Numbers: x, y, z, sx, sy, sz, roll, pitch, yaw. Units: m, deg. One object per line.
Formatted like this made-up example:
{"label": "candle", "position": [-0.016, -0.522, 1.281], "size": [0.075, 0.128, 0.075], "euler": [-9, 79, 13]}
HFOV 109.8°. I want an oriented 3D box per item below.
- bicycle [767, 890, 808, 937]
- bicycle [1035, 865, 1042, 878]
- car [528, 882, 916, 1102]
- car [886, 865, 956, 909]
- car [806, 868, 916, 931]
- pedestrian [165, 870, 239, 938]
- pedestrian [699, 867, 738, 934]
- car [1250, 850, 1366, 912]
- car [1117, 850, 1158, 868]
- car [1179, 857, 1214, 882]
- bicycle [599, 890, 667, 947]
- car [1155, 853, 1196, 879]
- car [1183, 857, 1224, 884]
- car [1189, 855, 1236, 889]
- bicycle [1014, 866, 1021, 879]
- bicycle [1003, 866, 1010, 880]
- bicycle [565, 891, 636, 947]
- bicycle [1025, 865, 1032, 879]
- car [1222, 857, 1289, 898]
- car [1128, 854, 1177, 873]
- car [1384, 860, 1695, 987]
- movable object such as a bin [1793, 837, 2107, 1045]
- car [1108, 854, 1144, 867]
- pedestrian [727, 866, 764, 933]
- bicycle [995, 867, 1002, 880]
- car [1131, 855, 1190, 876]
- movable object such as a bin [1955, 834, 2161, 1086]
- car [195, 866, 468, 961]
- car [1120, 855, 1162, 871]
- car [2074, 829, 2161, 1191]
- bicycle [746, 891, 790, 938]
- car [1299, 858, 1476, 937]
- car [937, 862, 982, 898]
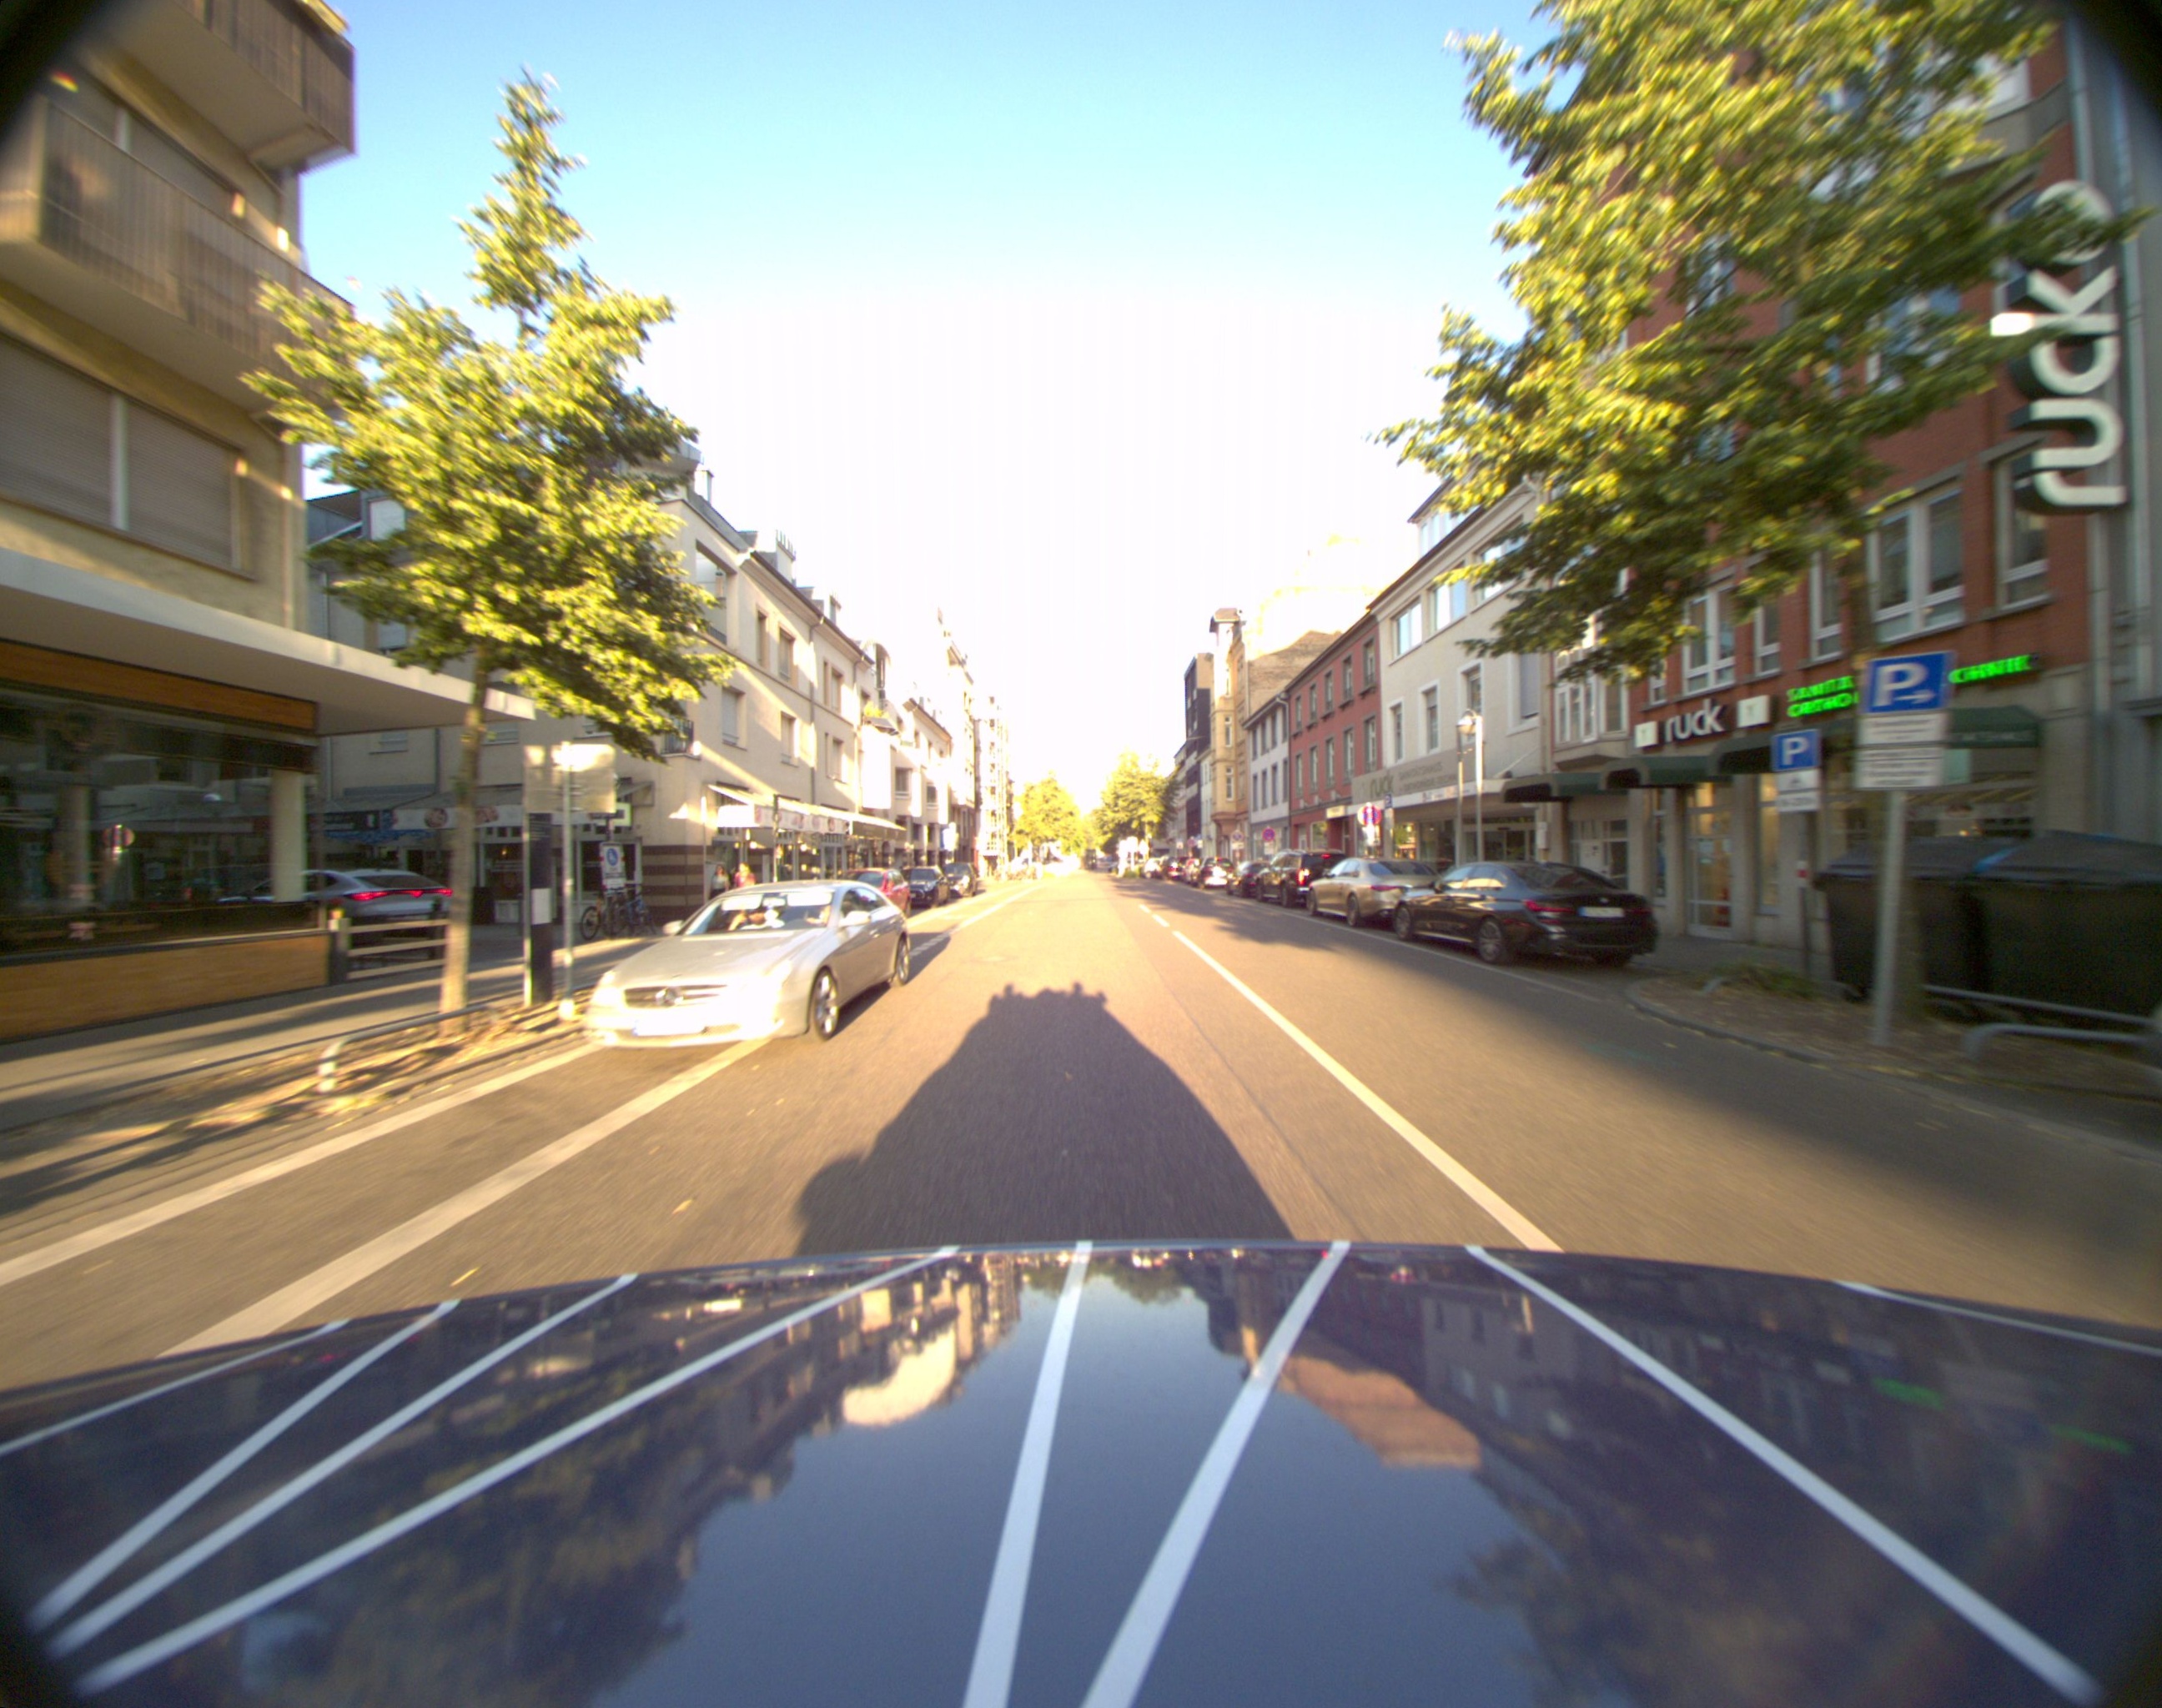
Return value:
{"label": "bicycle", "position": [-6.792, 1.358, 17.646], "size": [0.392, 0.950, 1.615], "euler": [-1, 0, -3]}
{"label": "bicycle", "position": [-3.185, 1.302, 56.751], "size": [0.470, 0.952, 1.918], "euler": [-1, 0, -4]}
{"label": "car", "position": [-3.128, 1.096, 7.857], "size": [1.805, 1.370, 4.551], "euler": [-3, 0, 0]}
{"label": "car", "position": [-5.621, 1.116, 27.085], "size": [1.727, 1.413, 3.748], "euler": [0, 0, 0]}
{"label": "car", "position": [-5.636, 1.120, 19.937], "size": [1.727, 1.413, 4.032], "euler": [0, 0, 0]}
{"label": "pedestrian", "position": [-22.058, 1.239, 19.087], "size": [0.916, 1.635, 0.758], "euler": [-1, 1, -12]}
{"label": "pedestrian", "position": [-8.568, 1.089, 17.963], "size": [0.541, 1.521, 0.651], "euler": [-1, 1, 6]}
{"label": "car", "position": [7.004, 0.759, 24.142], "size": [1.999, 1.759, 5.298], "euler": [0, 0, -1]}
{"label": "car", "position": [6.225, 0.592, 84.185], "size": [4.193, 1.971, 2.055], "euler": [0, 0, -5]}
{"label": "car", "position": [7.141, 0.923, 47.230], "size": [1.689, 1.455, 3.542], "euler": [0, 0, 1]}
{"label": "bicycle", "position": [-9.430, 1.321, 16.066], "size": [0.392, 1.044, 1.844], "euler": [-1, 0, -3]}
{"label": "car", "position": [6.369, 0.779, 51.521], "size": [2.055, 1.742, 4.216], "euler": [0, 0, -3]}
{"label": "car", "position": [6.935, 0.907, 43.247], "size": [1.770, 1.455, 3.867], "euler": [0, 0, 1]}
{"label": "car", "position": [6.658, 0.881, 38.922], "size": [1.770, 1.604, 4.217], "euler": [0, 0, 1]}
{"label": "bicycle", "position": [-4.734, 1.375, 56.471], "size": [0.470, 0.952, 1.918], "euler": [-1, 0, -4]}
{"label": "bicycle", "position": [-5.512, 1.410, 56.154], "size": [0.470, 0.952, 1.918], "euler": [-1, 0, -4]}
{"label": "bicycle", "position": [-10.109, 1.333, 16.058], "size": [0.392, 1.027, 1.844], "euler": [-1, 0, -3]}
{"label": "bicycle", "position": [-3.934, 1.338, 56.635], "size": [0.470, 0.952, 1.918], "euler": [-1, 0, -4]}
{"label": "car", "position": [6.894, 0.882, 30.393], "size": [1.770, 1.502, 4.217], "euler": [0, 0, 1]}
{"label": "car", "position": [6.175, 0.829, 65.986], "size": [3.911, 1.572, 1.958], "euler": [0, 0, -5]}
{"label": "car", "position": [6.469, 0.857, 11.513], "size": [1.920, 1.502, 4.638], "euler": [0, 0, 0]}
{"label": "movable object such as a bin", "position": [7.973, 0.729, 7.089], "size": [1.283, 1.663, 1.369], "euler": [-4, 1, -2]}
{"label": "car", "position": [5.696, 0.771, 96.392], "size": [4.197, 1.618, 2.053], "euler": [0, 0, -17]}
{"label": "pedestrian", "position": [-7.805, 1.043, 17.700], "size": [0.541, 1.521, 0.554], "euler": [-1, 1, 6]}
{"label": "bicycle", "position": [-6.108, 1.440, 56.248], "size": [0.470, 0.952, 1.917], "euler": [-1, 0, -7]}
{"label": "car", "position": [6.052, 0.859, 58.383], "size": [4.193, 1.572, 2.055], "euler": [0, 0, -5]}
{"label": "movable object such as a bin", "position": [8.015, 0.720, 5.656], "size": [1.284, 1.663, 1.440], "euler": [-4, 1, -2]}
{"label": "car", "position": [-14.482, 1.063, 14.754], "size": [4.175, 1.602, 1.858], "euler": [0, 1, 14]}
{"label": "car", "position": [6.196, 0.907, 79.143], "size": [4.132, 1.666, 1.996], "euler": [0, 0, -3]}
{"label": "car", "position": [6.347, 0.766, 2.016], "size": [1.920, 1.777, 4.147], "euler": [0, 0, -3]}
{"label": "bicycle", "position": [-7.234, 1.379, 17.613], "size": [0.392, 0.951, 1.639], "euler": [-1, 0, -3]}
{"label": "car", "position": [6.631, 0.847, 17.171], "size": [1.998, 1.502, 5.113], "euler": [0, 0, 1]}
{"label": "car", "position": [-5.401, 1.119, 33.933], "size": [1.572, 1.540, 2.803], "euler": [0, 0, 0]}
